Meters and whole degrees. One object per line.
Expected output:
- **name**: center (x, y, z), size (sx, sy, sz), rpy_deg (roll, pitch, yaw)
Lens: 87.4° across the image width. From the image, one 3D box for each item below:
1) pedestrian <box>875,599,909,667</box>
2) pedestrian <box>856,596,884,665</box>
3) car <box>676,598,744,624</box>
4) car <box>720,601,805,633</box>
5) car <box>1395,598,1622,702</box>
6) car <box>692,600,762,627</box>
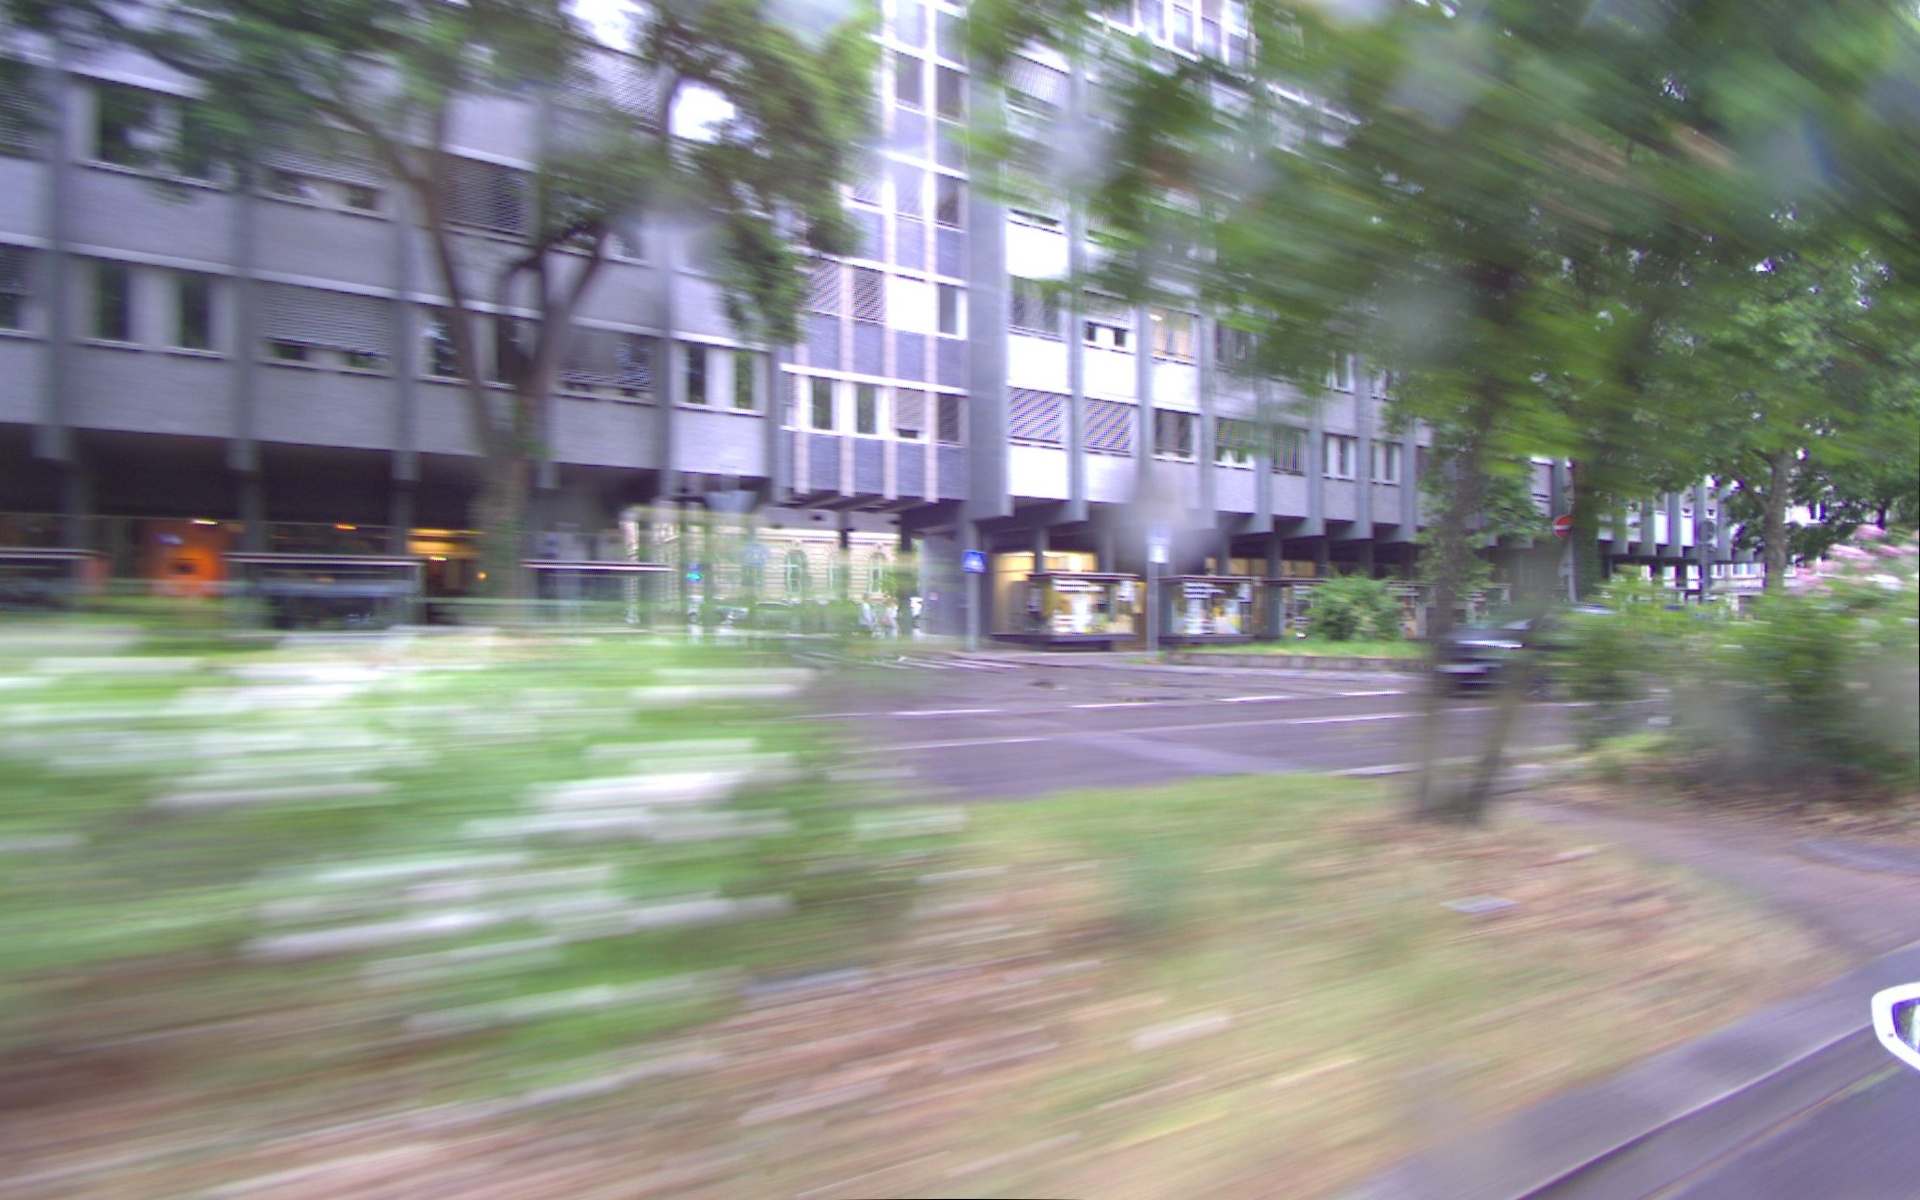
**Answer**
- **pedestrian**: center (-1.759, 0.852, 26.064), size (0.678, 1.731, 0.561), rpy_deg (1, 0, -30)
- **pedestrian**: center (-2.414, 0.803, 26.943), size (0.516, 1.831, 0.545), rpy_deg (1, 0, -30)
- **car**: center (-16.940, 0.741, 67.983), size (4.154, 1.662, 1.826), rpy_deg (1, 0, -27)
- **car**: center (-10.730, 0.940, 54.607), size (4.154, 1.662, 1.826), rpy_deg (1, 0, -27)
- **car**: center (9.724, 0.838, 17.757), size (3.967, 1.659, 1.714), rpy_deg (1, 0, -30)
- **car**: center (-15.239, 0.885, 65.618), size (4.154, 1.662, 1.826), rpy_deg (1, 0, -27)
